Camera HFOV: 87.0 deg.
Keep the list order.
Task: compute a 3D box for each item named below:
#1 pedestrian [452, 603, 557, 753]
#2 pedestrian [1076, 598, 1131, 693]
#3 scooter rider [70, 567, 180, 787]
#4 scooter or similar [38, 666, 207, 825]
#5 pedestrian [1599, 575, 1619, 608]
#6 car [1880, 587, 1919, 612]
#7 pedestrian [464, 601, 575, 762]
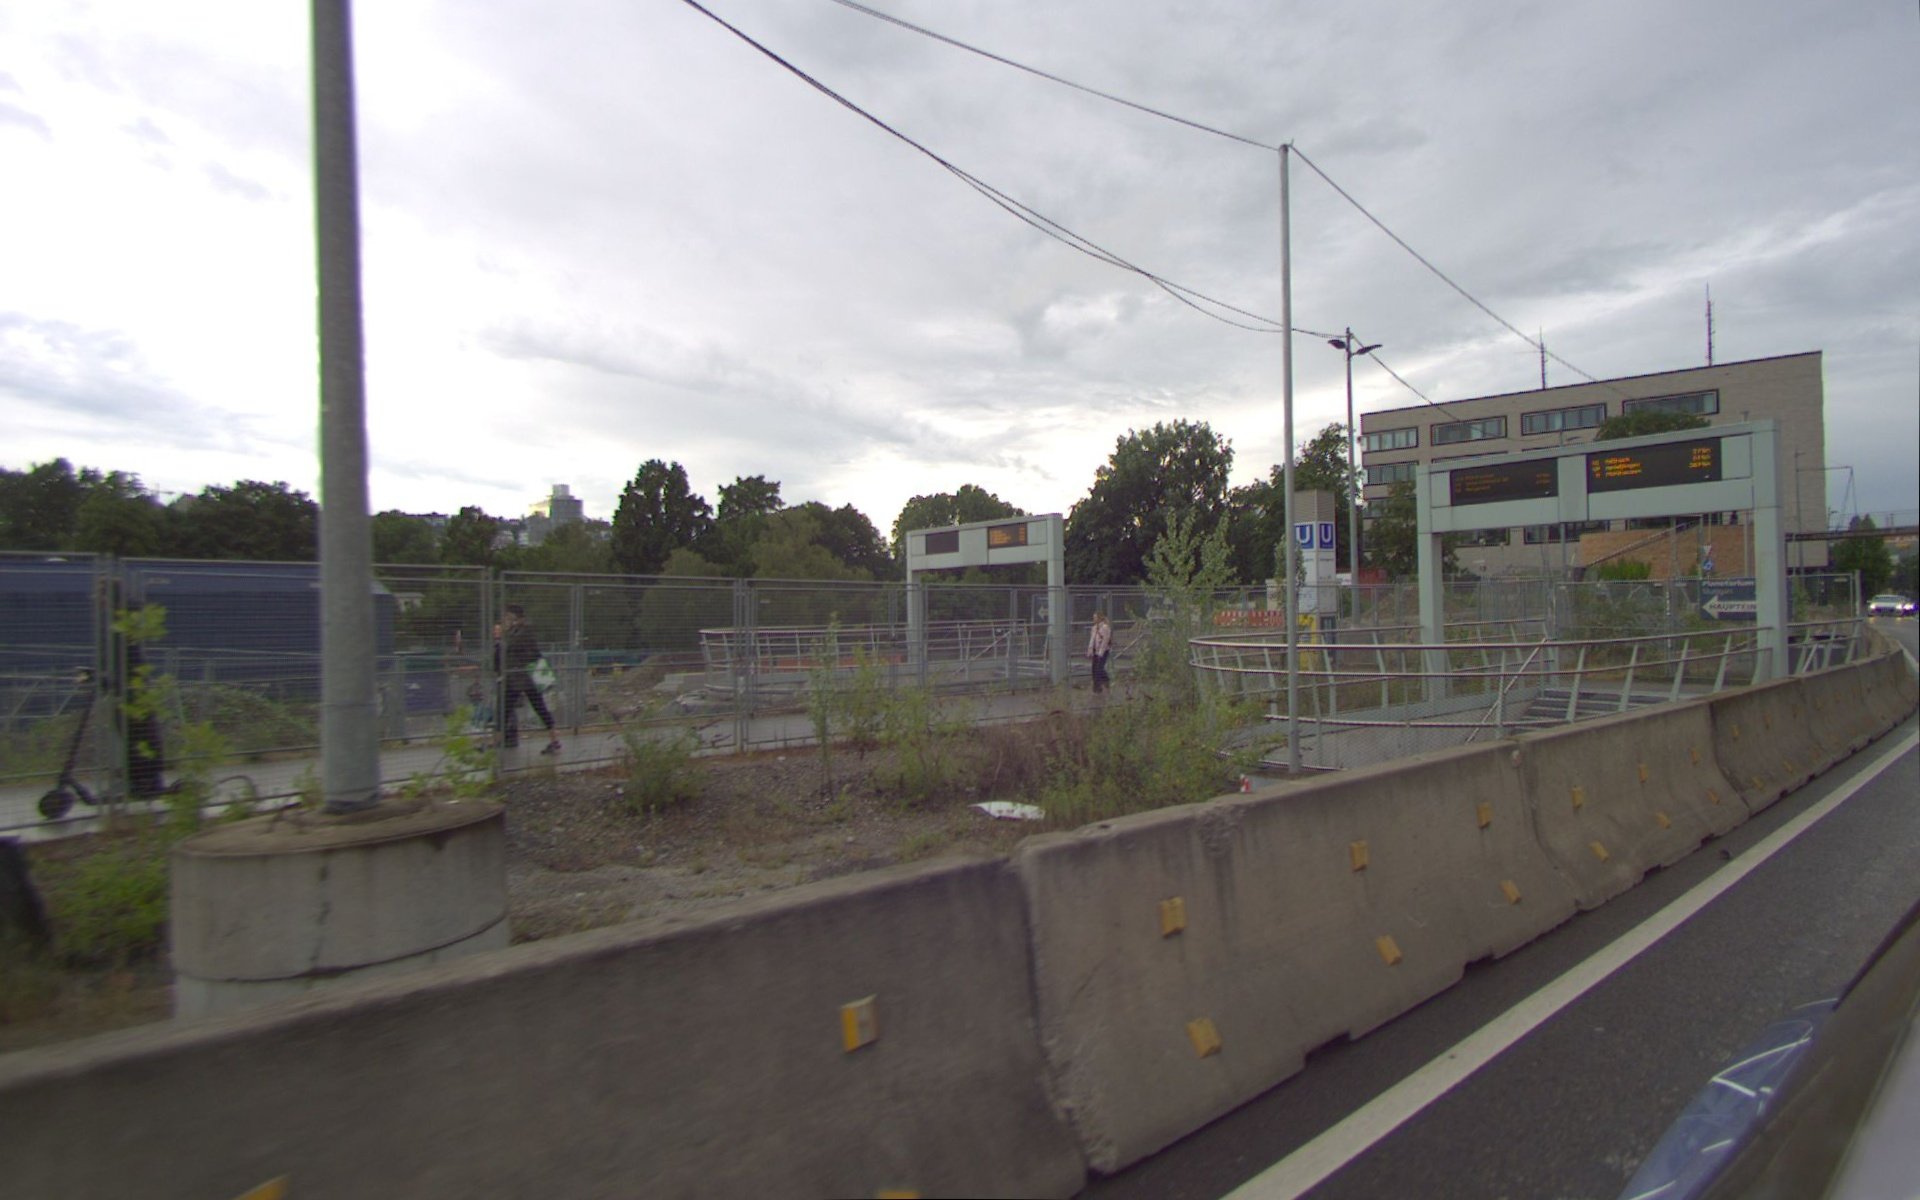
[{"bbox_3d":[-5.835,0.956,12.972,1.006,1.800,0.726,-1,0,-45],"label":"pedestrian"},{"bbox_3d":[2.827,0.875,19.987,0.798,1.800,0.693,-1,0,-21],"label":"pedestrian"},{"bbox_3d":[-7.119,0.624,8.634,0.688,1.778,0.521,0,-1,-44],"label":"scooter rider"},{"bbox_3d":[-7.117,1.195,8.623,1.078,1.195,0.491,0,-1,-44],"label":"scooter or similar"},{"bbox_3d":[35.389,-0.459,55.222,0.682,1.800,0.811,-1,0,18],"label":"pedestrian"},{"bbox_3d":[62.273,-0.022,67.076,1.767,1.553,4.583,-2,-2,43],"label":"car"},{"bbox_3d":[-5.241,0.924,12.060,0.689,1.800,1.007,-1,0,43],"label":"pedestrian"}]
